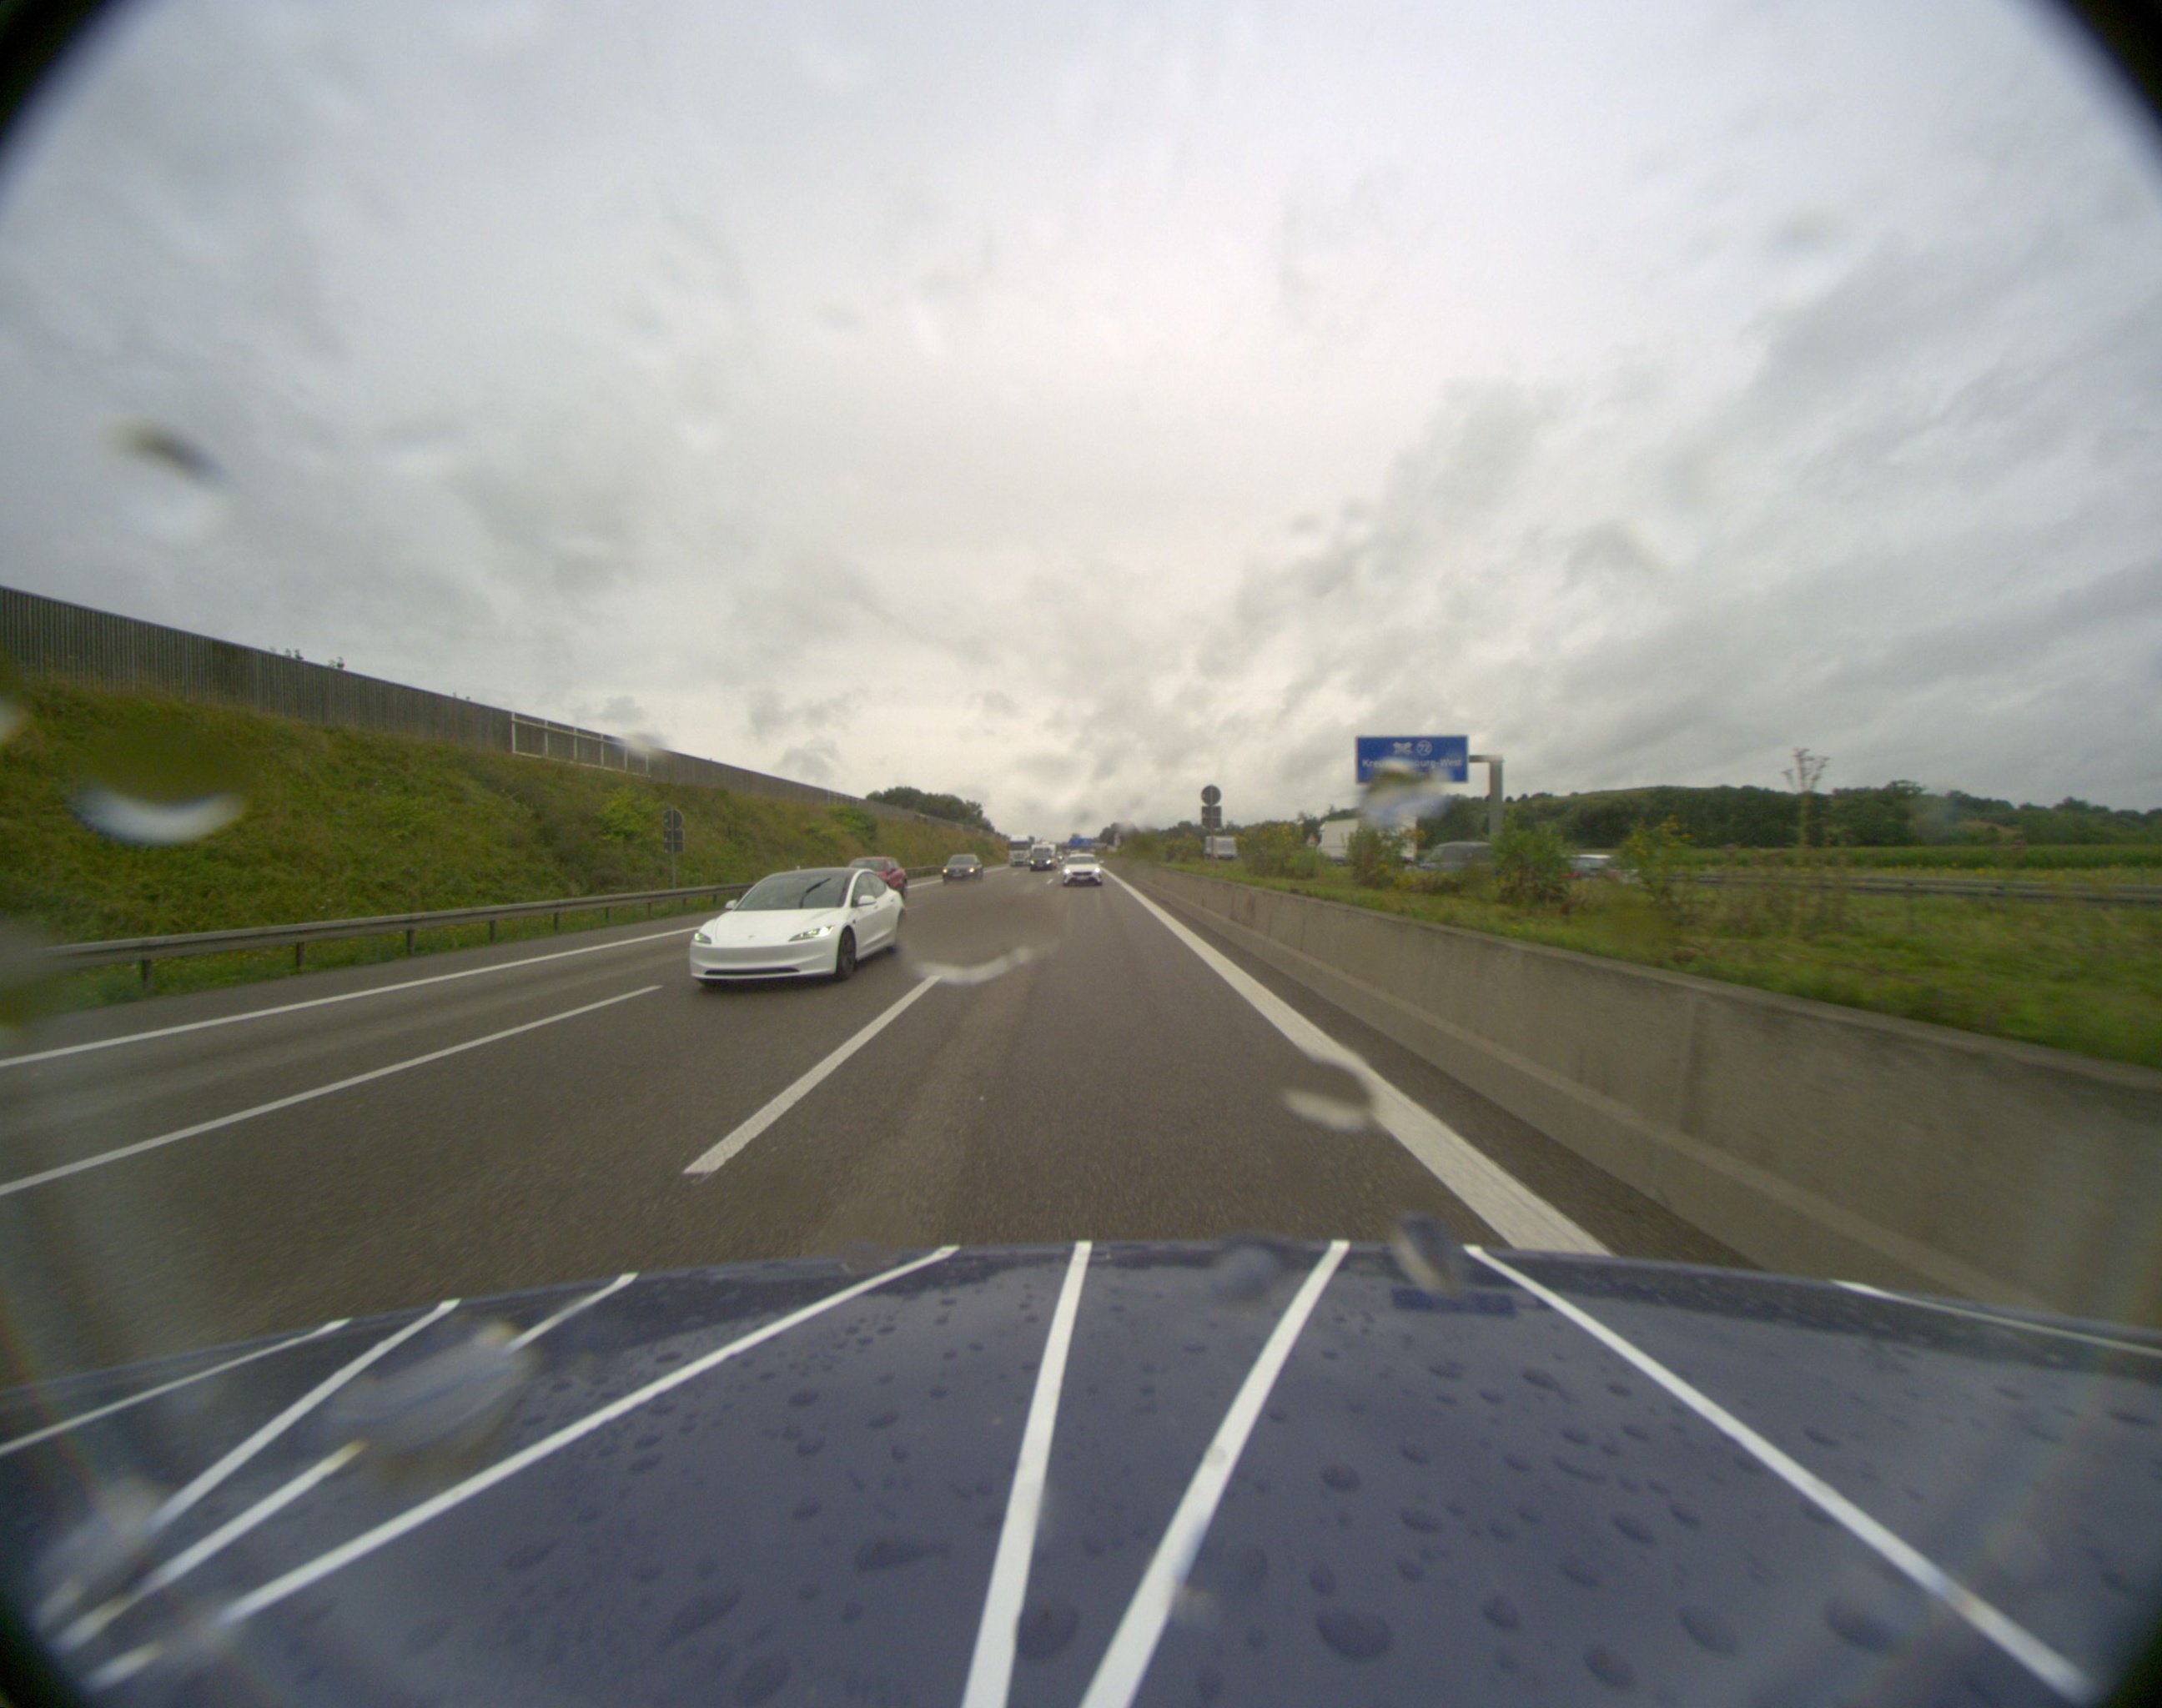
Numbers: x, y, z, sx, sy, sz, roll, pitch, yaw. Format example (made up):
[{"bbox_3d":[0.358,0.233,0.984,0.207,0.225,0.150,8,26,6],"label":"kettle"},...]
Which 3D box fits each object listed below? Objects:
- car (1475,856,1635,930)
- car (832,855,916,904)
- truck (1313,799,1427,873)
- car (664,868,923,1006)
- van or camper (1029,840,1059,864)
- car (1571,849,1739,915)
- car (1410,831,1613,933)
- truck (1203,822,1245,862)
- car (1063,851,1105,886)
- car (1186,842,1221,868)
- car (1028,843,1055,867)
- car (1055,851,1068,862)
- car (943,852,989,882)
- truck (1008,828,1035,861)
[{"bbox_3d":[12.568,0.964,20.478,1.820,1.643,3.999,-2,1,1],"label":"car"},{"bbox_3d":[-7.408,0.867,27.552,1.878,1.526,3.999,-2,1,0],"label":"car"},{"bbox_3d":[17.584,-1.071,47.290,3.191,3.944,10.810,-2,1,2],"label":"truck"},{"bbox_3d":[-3.824,1.013,11.193,1.878,1.355,4.812,-2,1,1],"label":"car"},{"bbox_3d":[-3.519,-0.256,74.249,2.432,2.139,6.497,-2,1,1],"label":"van or camper"},{"bbox_3d":[16.840,0.738,22.588,1.998,1.674,3.999,-2,1,1],"label":"car"},{"bbox_3d":[8.763,0.488,15.944,1.998,1.805,3.999,-2,1,1],"label":"car"},{"bbox_3d":[17.688,-1.520,94.708,3.233,4.623,9.672,-2,1,0],"label":"truck"},{"bbox_3d":[0.157,0.628,36.130,1.840,1.455,3.999,-2,1,1],"label":"car"},{"bbox_3d":[9.655,0.037,60.182,1.998,2.002,4.835,0,1,1],"label":"car"},{"bbox_3d":[-3.548,0.069,68.782,1.998,2.002,4.937,-2,1,1],"label":"car"},{"bbox_3d":[-3.130,0.348,119.919,1.999,1.759,3.999,0,1,-1],"label":"car"},{"bbox_3d":[-6.559,0.713,43.724,1.929,1.480,4.485,-2,1,0],"label":"car"},{"bbox_3d":[-7.767,-1.262,99.483,3.090,4.003,6.954,-2,1,-2],"label":"truck"}]
